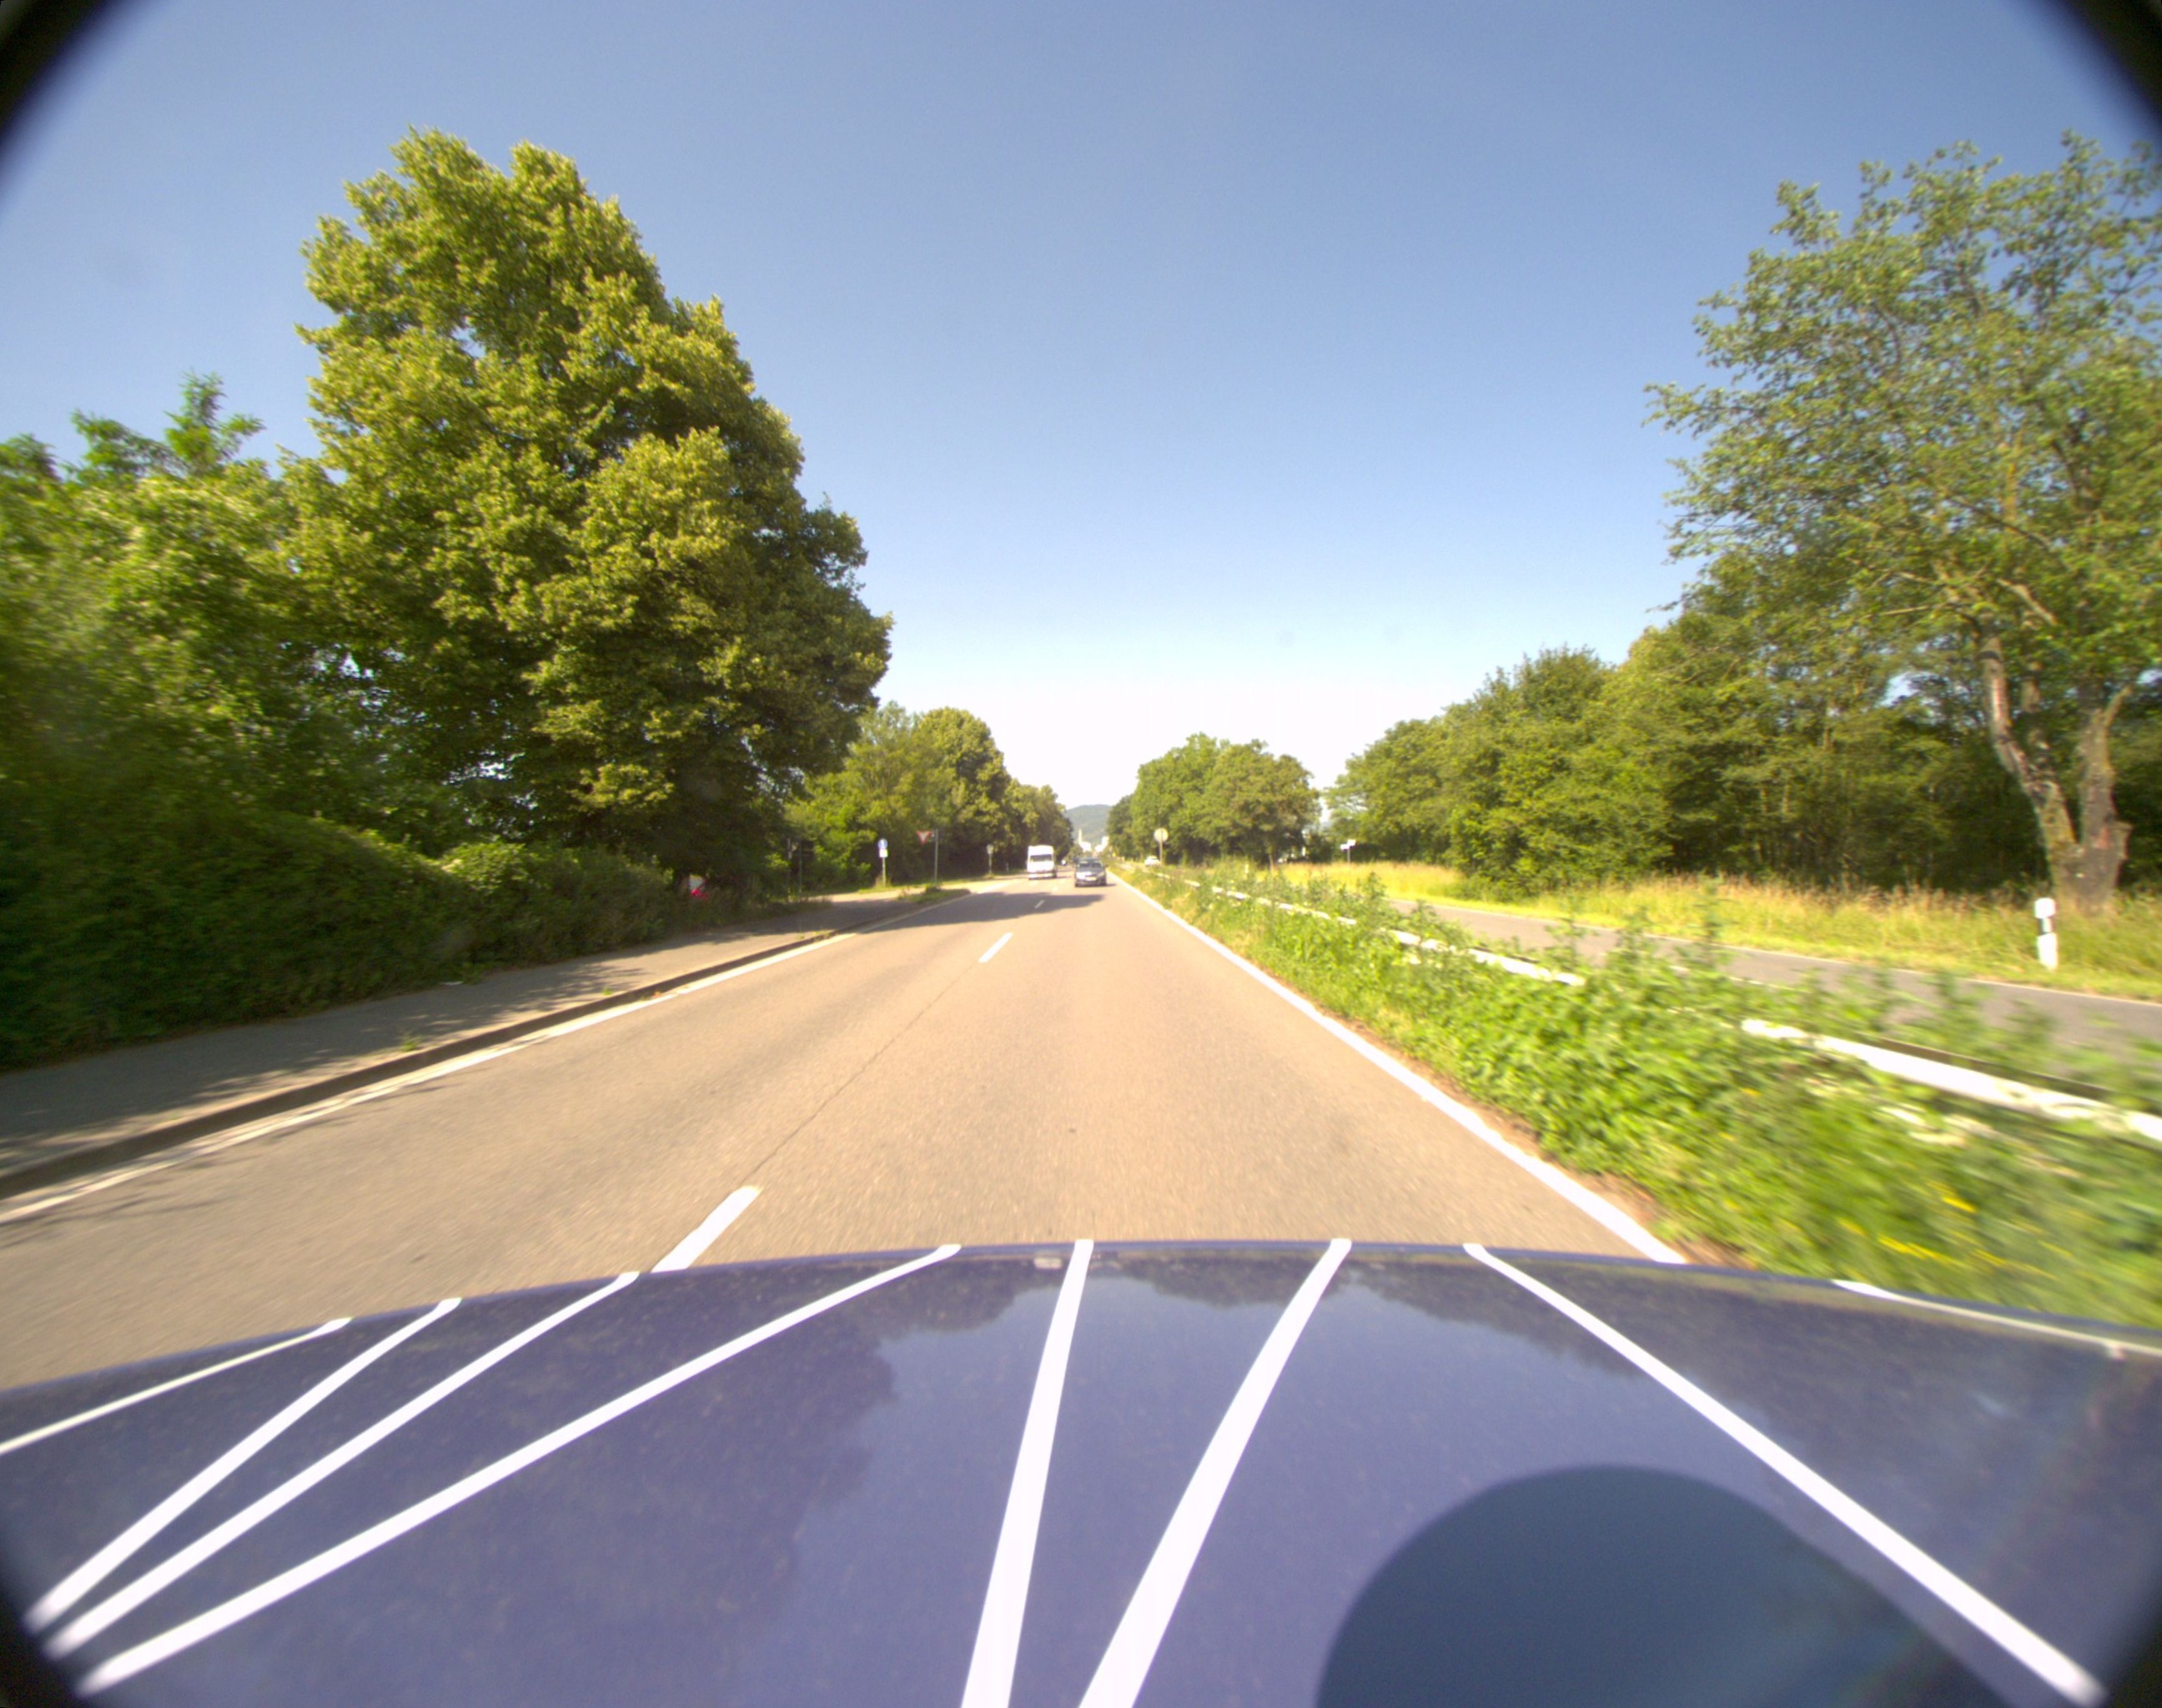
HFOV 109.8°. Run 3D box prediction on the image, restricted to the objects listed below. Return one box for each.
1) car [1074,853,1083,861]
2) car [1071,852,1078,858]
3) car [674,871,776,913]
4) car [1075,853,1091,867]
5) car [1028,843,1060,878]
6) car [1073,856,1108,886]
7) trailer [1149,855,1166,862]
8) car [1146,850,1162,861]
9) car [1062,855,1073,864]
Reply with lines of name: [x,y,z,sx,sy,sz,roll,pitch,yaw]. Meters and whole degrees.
car: [-0.490,0.648,169.470,1.825,1.591,4.000,-1,0,1]
car: [-1.820,0.240,203.872,1.825,1.591,4.000,-1,0,1]
car: [-14.623,1.510,31.369,1.546,1.445,3.574,0,2,26]
car: [0.223,0.641,82.889,1.678,1.435,3.621,-2,1,1]
car: [-2.710,0.403,57.191,1.998,2.433,5.088,-2,1,1]
car: [0.510,0.844,40.078,1.678,1.434,4.362,-2,0,1]
trailer: [11.167,0.651,111.258,1.968,0.955,5.598,0,0,1]
car: [11.199,0.269,116.452,1.998,1.690,4.813,0,0,1]
car: [-2.594,1.052,147.357,1.825,1.591,4.000,-1,0,1]
